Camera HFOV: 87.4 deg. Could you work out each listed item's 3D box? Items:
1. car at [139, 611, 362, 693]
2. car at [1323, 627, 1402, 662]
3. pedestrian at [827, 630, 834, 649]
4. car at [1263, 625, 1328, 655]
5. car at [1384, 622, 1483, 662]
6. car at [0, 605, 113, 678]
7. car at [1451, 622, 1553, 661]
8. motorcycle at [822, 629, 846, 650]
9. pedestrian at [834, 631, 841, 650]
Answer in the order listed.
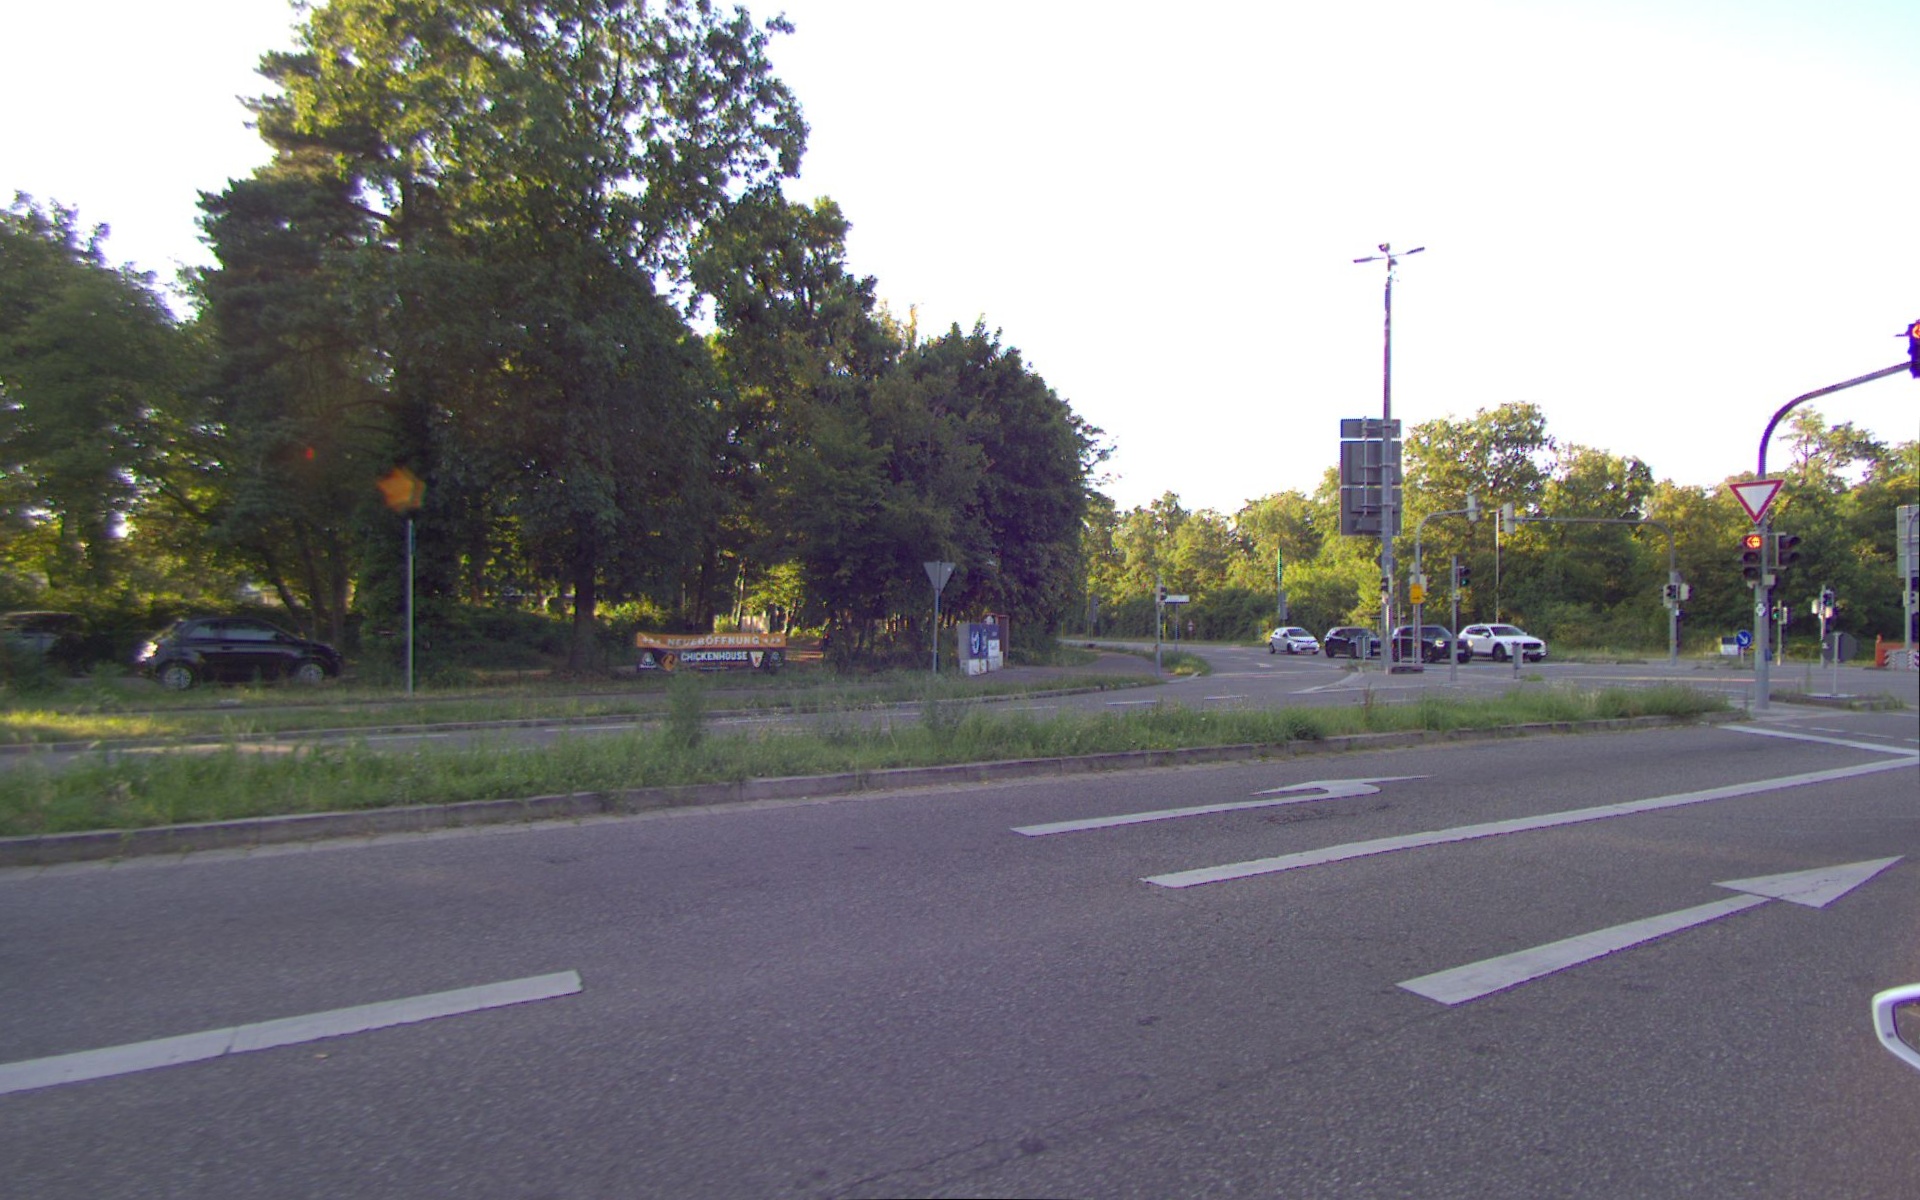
[{"bbox_3d":[-15.192,1.086,21.710,3.777,1.618,1.842,1,-2,-35],"label":"car"},{"bbox_3d":[20.436,2.237,51.232,1.963,1.661,4.253,0,-1,-7],"label":"car"},{"bbox_3d":[-6.388,1.958,49.688,0.316,0.937,0.375,0,-1,-11],"label":"pedestrian"},{"bbox_3d":[19.780,2.332,59.399,1.964,1.661,4.251,0,-1,-9],"label":"car"},{"bbox_3d":[20.601,1.817,43.878,1.963,1.661,4.253,0,-1,-7],"label":"car"},{"bbox_3d":[-22.552,0.989,24.985,1.900,1.673,3.960,1,-2,-35],"label":"car"},{"bbox_3d":[24.314,1.814,45.210,1.963,1.661,4.253,0,-1,-7],"label":"car"},{"bbox_3d":[-6.248,1.975,49.718,1.156,1.031,0.383,0,-1,-11],"label":"motorcycle"},{"bbox_3d":[-6.050,2.020,49.757,0.316,0.931,0.375,0,-1,-11],"label":"pedestrian"}]
